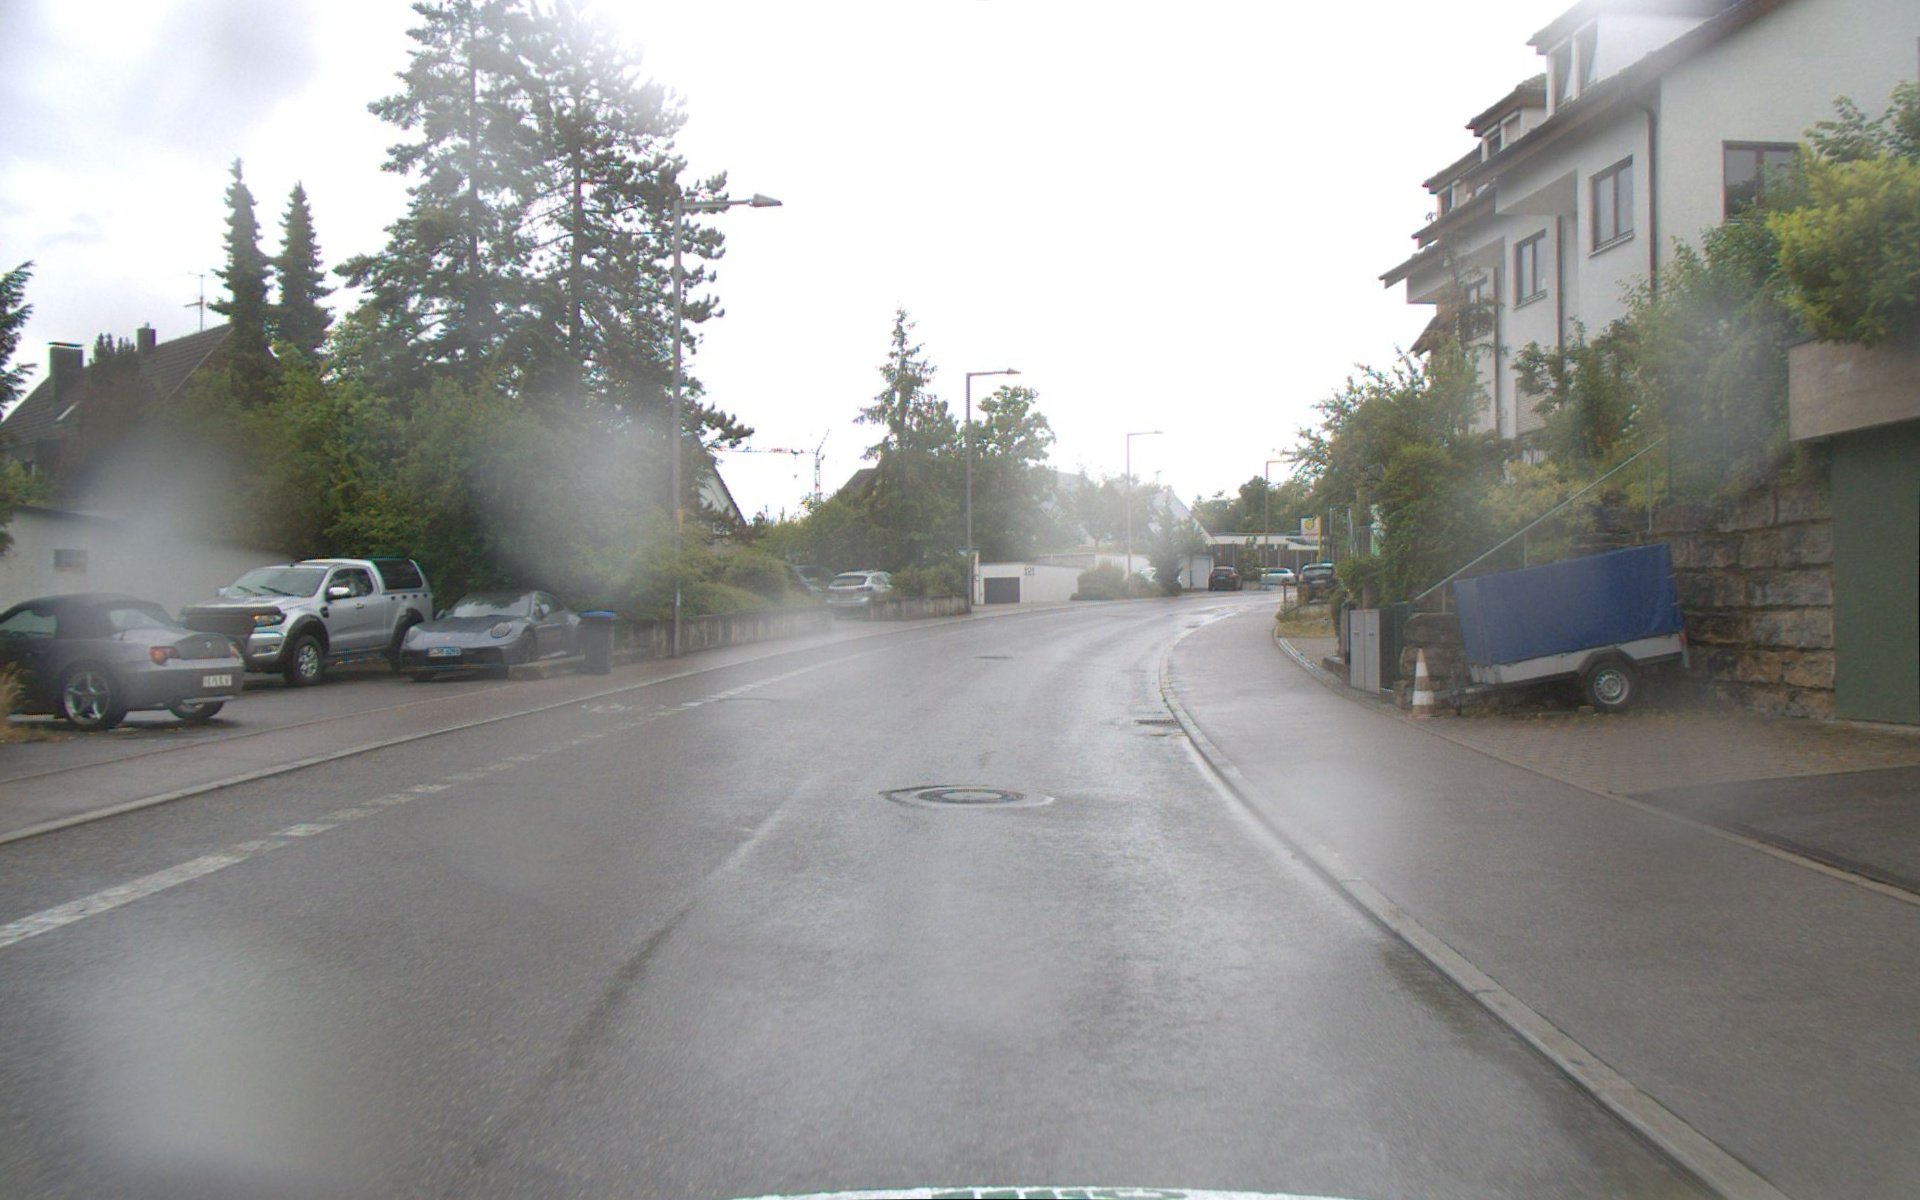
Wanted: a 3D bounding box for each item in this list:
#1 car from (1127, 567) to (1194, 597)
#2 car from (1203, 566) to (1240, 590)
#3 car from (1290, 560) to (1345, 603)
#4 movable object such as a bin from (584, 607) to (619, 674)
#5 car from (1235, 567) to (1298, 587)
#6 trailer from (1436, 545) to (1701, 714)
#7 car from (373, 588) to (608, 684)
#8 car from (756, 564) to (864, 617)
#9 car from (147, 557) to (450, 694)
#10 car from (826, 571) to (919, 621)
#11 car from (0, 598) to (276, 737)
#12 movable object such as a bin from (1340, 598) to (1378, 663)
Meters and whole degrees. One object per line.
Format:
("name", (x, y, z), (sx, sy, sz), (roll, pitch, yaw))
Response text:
("car", (11.165, -1.028, 91.933), (1.678, 1.580, 4.367), (0, 1, 39))
("car", (16.611, -1.400, 104.838), (1.795, 1.430, 4.263), (0, 1, 16))
("car", (13.678, -0.716, 63.116), (1.669, 1.479, 4.024), (-4, 0, 16))
("movable object such as a bin", (-5.462, 0.611, 25.189), (0.362, 1.005, 0.559), (-1, 0, 4))
("car", (23.332, -1.774, 125.985), (4.441, 1.467, 1.755), (0, 1, -14))
("trailer", (6.729, 0.304, 18.525), (2.304, 1.778, 2.001), (0, 0, 3))
("car", (-7.165, 0.499, 25.762), (1.951, 1.330, 4.437), (-1, 1, 6))
("car", (-5.545, -0.340, 61.001), (1.984, 1.870, 3.937), (-1, 1, -43))
("car", (-9.966, 0.325, 25.509), (1.951, 1.876, 5.483), (0, 1, 7))
("car", (-2.819, -0.160, 54.336), (1.698, 1.578, 4.002), (-1, 1, 18))
("car", (-9.265, 0.635, 16.785), (3.902, 1.294, 1.875), (0, 0, 10))
("movable object such as a bin", (5.825, 0.443, 24.154), (0.481, 0.939, 0.458), (-1, 0, 7))
